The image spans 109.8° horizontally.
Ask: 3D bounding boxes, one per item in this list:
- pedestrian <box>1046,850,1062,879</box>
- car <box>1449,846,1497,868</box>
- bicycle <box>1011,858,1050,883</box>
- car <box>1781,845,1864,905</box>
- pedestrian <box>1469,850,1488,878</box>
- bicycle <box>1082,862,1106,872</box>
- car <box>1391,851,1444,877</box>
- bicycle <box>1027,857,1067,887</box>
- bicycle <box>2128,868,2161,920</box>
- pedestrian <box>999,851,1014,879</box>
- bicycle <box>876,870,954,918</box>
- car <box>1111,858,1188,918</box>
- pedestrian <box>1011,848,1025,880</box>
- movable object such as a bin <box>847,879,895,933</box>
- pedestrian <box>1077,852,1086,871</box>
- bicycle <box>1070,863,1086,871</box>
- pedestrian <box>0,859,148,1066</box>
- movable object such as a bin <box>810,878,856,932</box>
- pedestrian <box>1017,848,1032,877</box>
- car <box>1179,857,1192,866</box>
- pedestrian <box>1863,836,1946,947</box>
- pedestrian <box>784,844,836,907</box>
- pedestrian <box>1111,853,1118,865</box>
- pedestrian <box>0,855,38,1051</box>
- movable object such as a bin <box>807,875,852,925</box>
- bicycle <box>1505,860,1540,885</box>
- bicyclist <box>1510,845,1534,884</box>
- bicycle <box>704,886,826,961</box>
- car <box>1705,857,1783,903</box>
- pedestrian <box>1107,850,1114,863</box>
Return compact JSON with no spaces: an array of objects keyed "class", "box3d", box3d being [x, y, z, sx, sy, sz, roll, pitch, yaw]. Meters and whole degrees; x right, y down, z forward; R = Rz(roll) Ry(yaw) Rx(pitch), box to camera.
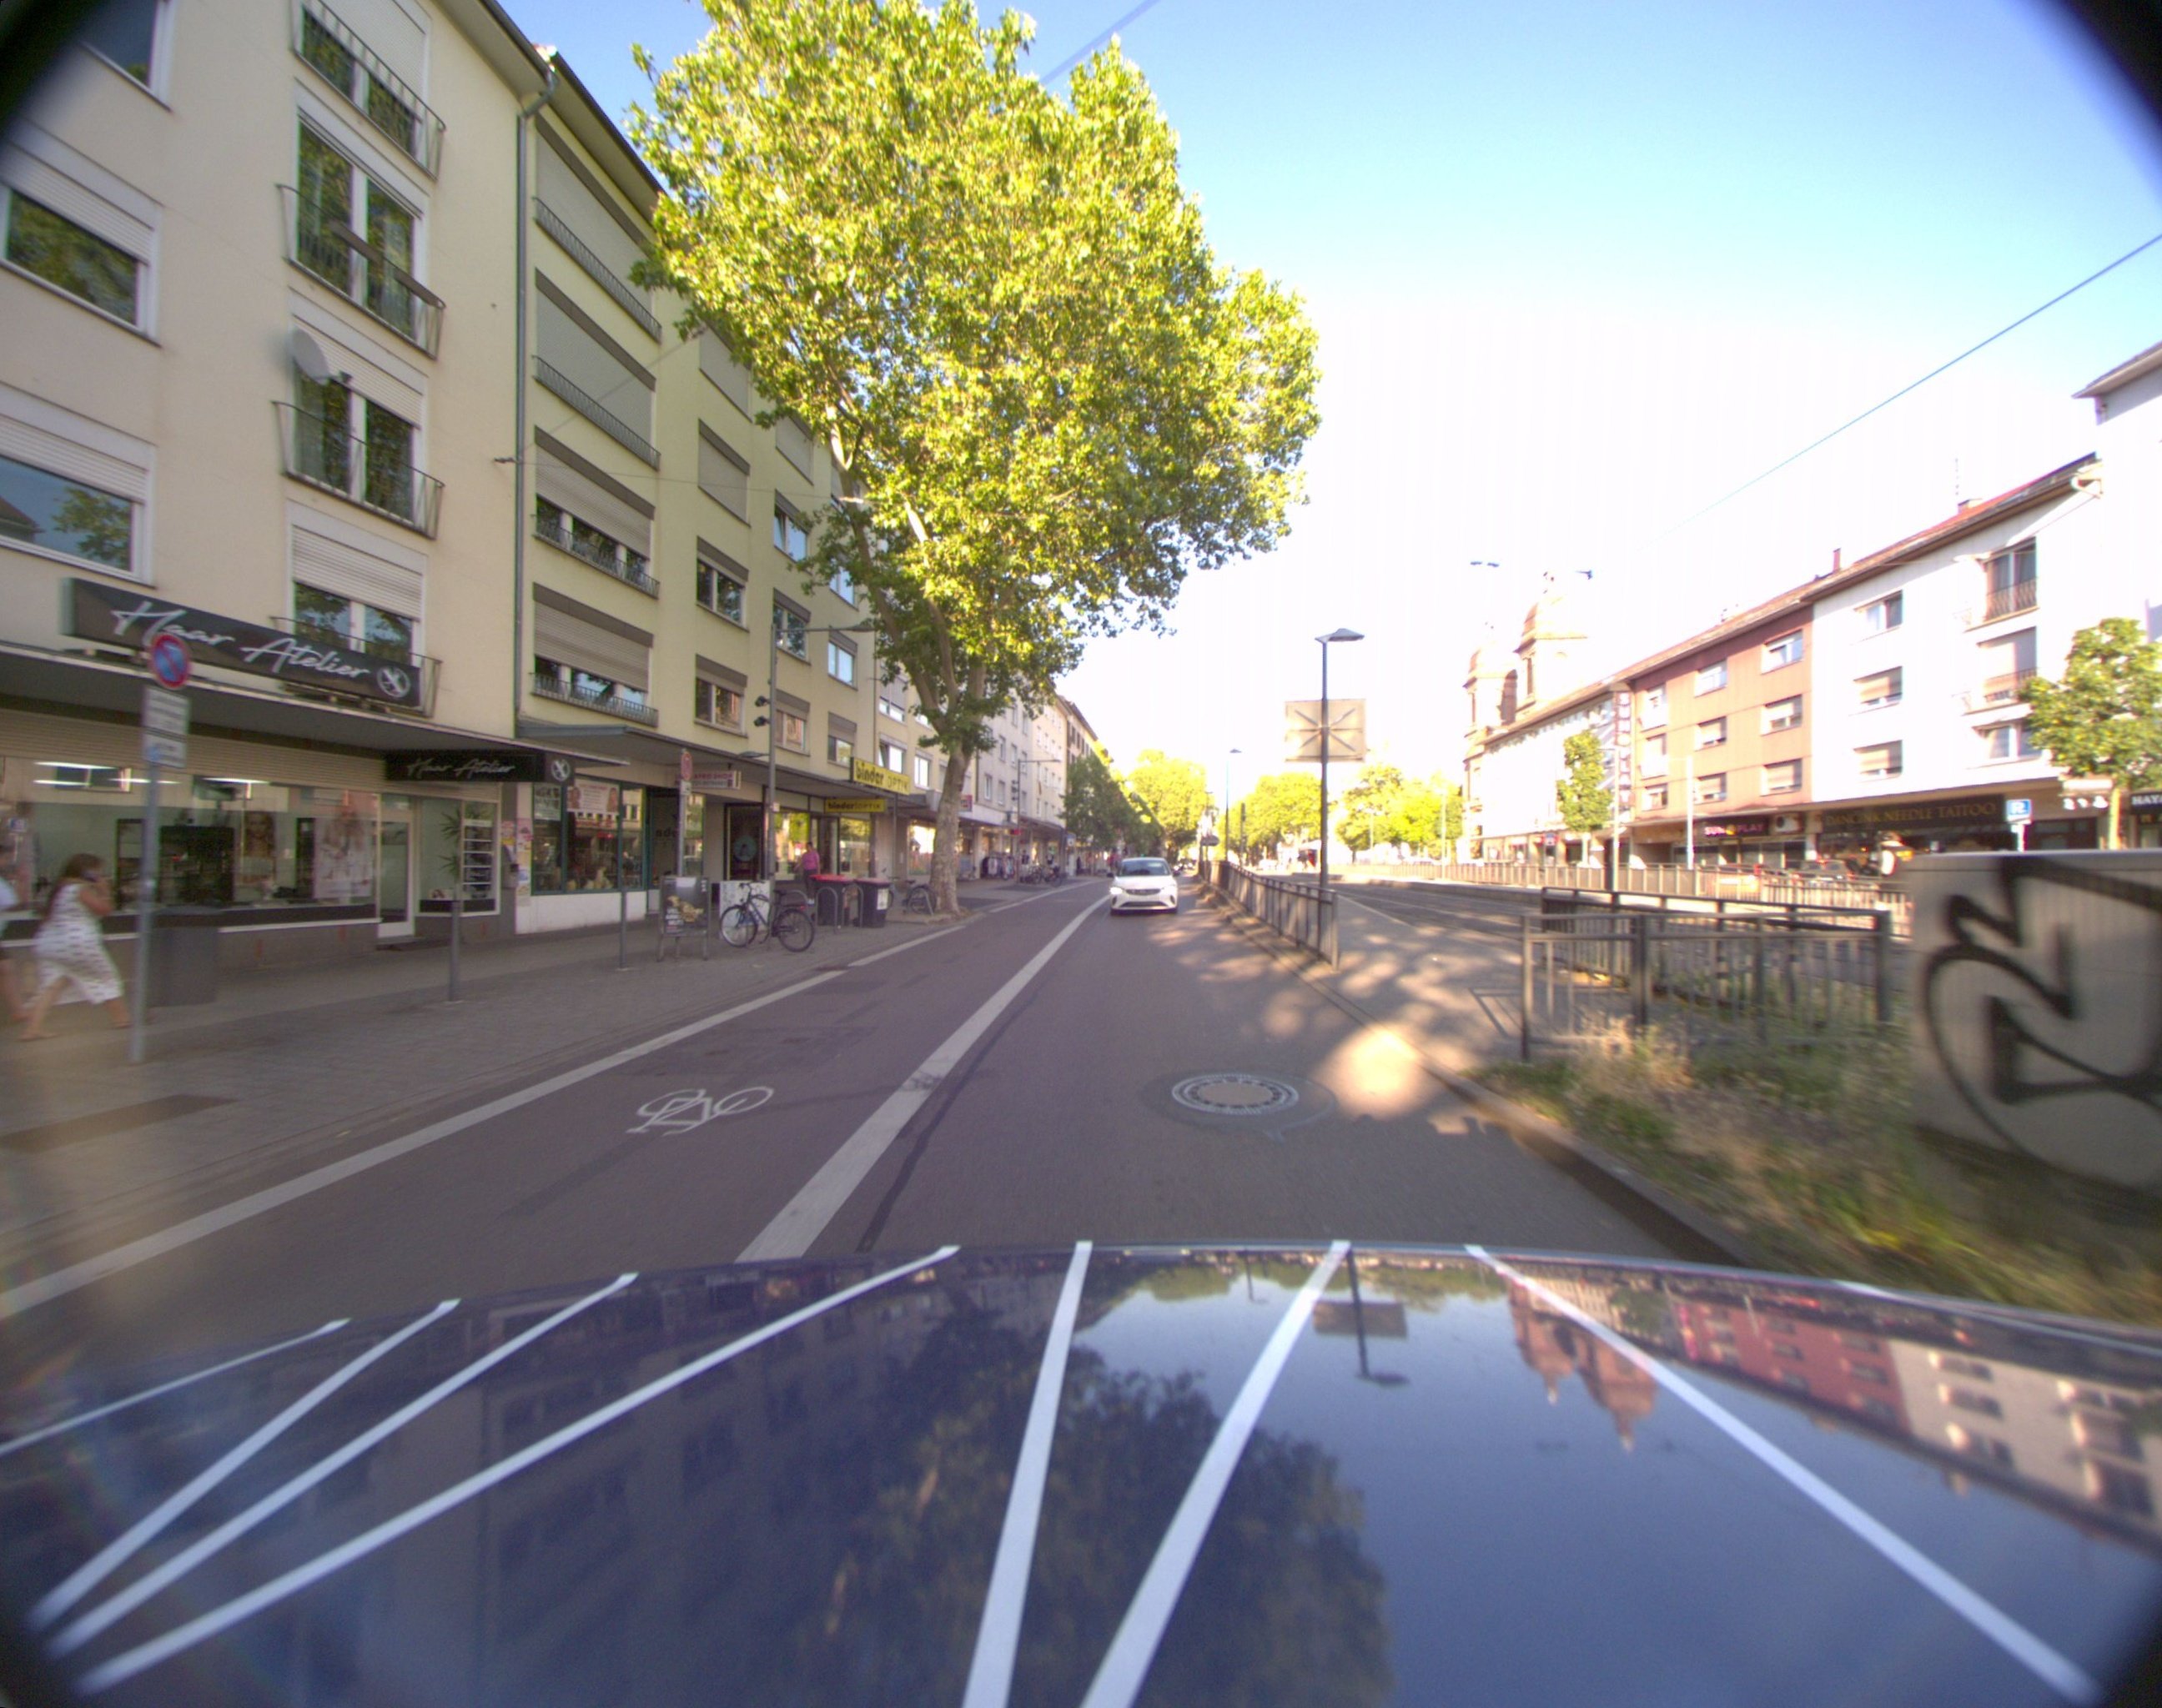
[{"class":"pedestrian","box3d":[-1.717,0.641,48.451,0.774,1.789,0.931,3,0,9]},{"class":"car","box3d":[29.159,0.245,56.495,4.007,1.477,1.739,-2,0,-39]},{"class":"bicycle","box3d":[-2.602,0.859,38.868,1.795,1.118,0.663,4,1,-19]},{"class":"car","box3d":[25.274,0.669,25.849,3.777,1.789,1.859,-3,1,-44]},{"class":"pedestrian","box3d":[25.811,0.650,49.299,0.768,1.777,0.725,-2,1,-5]},{"class":"bicycle","box3d":[1.009,1.008,59.009,1.762,0.773,0.702,1,0,-15]},{"class":"car","box3d":[22.918,0.660,51.911,1.997,1.707,4.438,0,0,6]},{"class":"bicycle","box3d":[-1.692,0.884,37.745,1.788,1.304,0.695,4,1,19]},{"class":"bicycle","box3d":[24.815,0.926,16.827,0.706,1.152,2.201,-1,0,16]},{"class":"pedestrian","box3d":[-4.034,0.612,41.078,0.541,1.493,0.896,2,0,8]},{"class":"bicycle","box3d":[-4.116,0.979,18.888,1.721,1.111,0.745,0,4,8]},{"class":"car","box3d":[1.804,0.837,20.361,1.826,1.433,3.829,-1,0,4]},{"class":"pedestrian","box3d":[-3.332,0.528,40.264,0.547,1.619,0.896,2,0,8]},{"class":"movable object such as a bin","box3d":[-4.595,1.128,16.650,0.723,1.096,0.645,4,2,14]},{"class":"pedestrian","box3d":[0.032,0.591,63.563,0.489,1.559,0.649,2,1,27]},{"class":"bicycle","box3d":[-0.246,1.012,59.204,0.840,0.569,1.758,1,0,-15]},{"class":"pedestrian","box3d":[-8.349,0.844,6.228,0.636,1.577,0.627,2,1,6]},{"class":"movable object such as a bin","box3d":[-5.390,1.099,16.547,0.723,1.066,0.644,3,1,5]},{"class":"pedestrian","box3d":[-3.327,0.502,44.701,0.569,1.665,1.070,2,1,8]},{"class":"car","box3d":[16.238,1.141,117.943,1.718,1.390,4.001,-2,0,4]},{"class":"pedestrian","box3d":[13.902,0.623,12.845,0.743,1.838,0.590,0,0,2]},{"class":"pedestrian","box3d":[-7.784,0.604,21.882,0.969,1.753,1.134,1,1,8]},{"class":"pedestrian","box3d":[4.759,0.701,107.113,0.851,1.645,0.916,-2,1,8]},{"class":"pedestrian","box3d":[-9.064,0.802,6.068,0.623,1.577,0.627,2,1,6]},{"class":"movable object such as a bin","box3d":[-5.745,1.036,17.364,0.722,1.066,0.645,2,1,26]},{"class":"bicycle","box3d":[22.982,0.936,39.564,0.719,1.223,2.279,0,0,7]},{"class":"bicyclist","box3d":[22.994,0.538,39.606,0.765,2.002,0.911,0,0,7]},{"class":"bicycle","box3d":[-5.246,1.134,12.631,1.909,1.098,0.519,2,1,14]},{"class":"car","box3d":[25.098,0.940,28.723,3.777,1.482,1.859,-3,0,-44]},{"class":"pedestrian","box3d":[3.913,0.334,100.175,0.851,1.645,0.916,-2,1,8]}]
